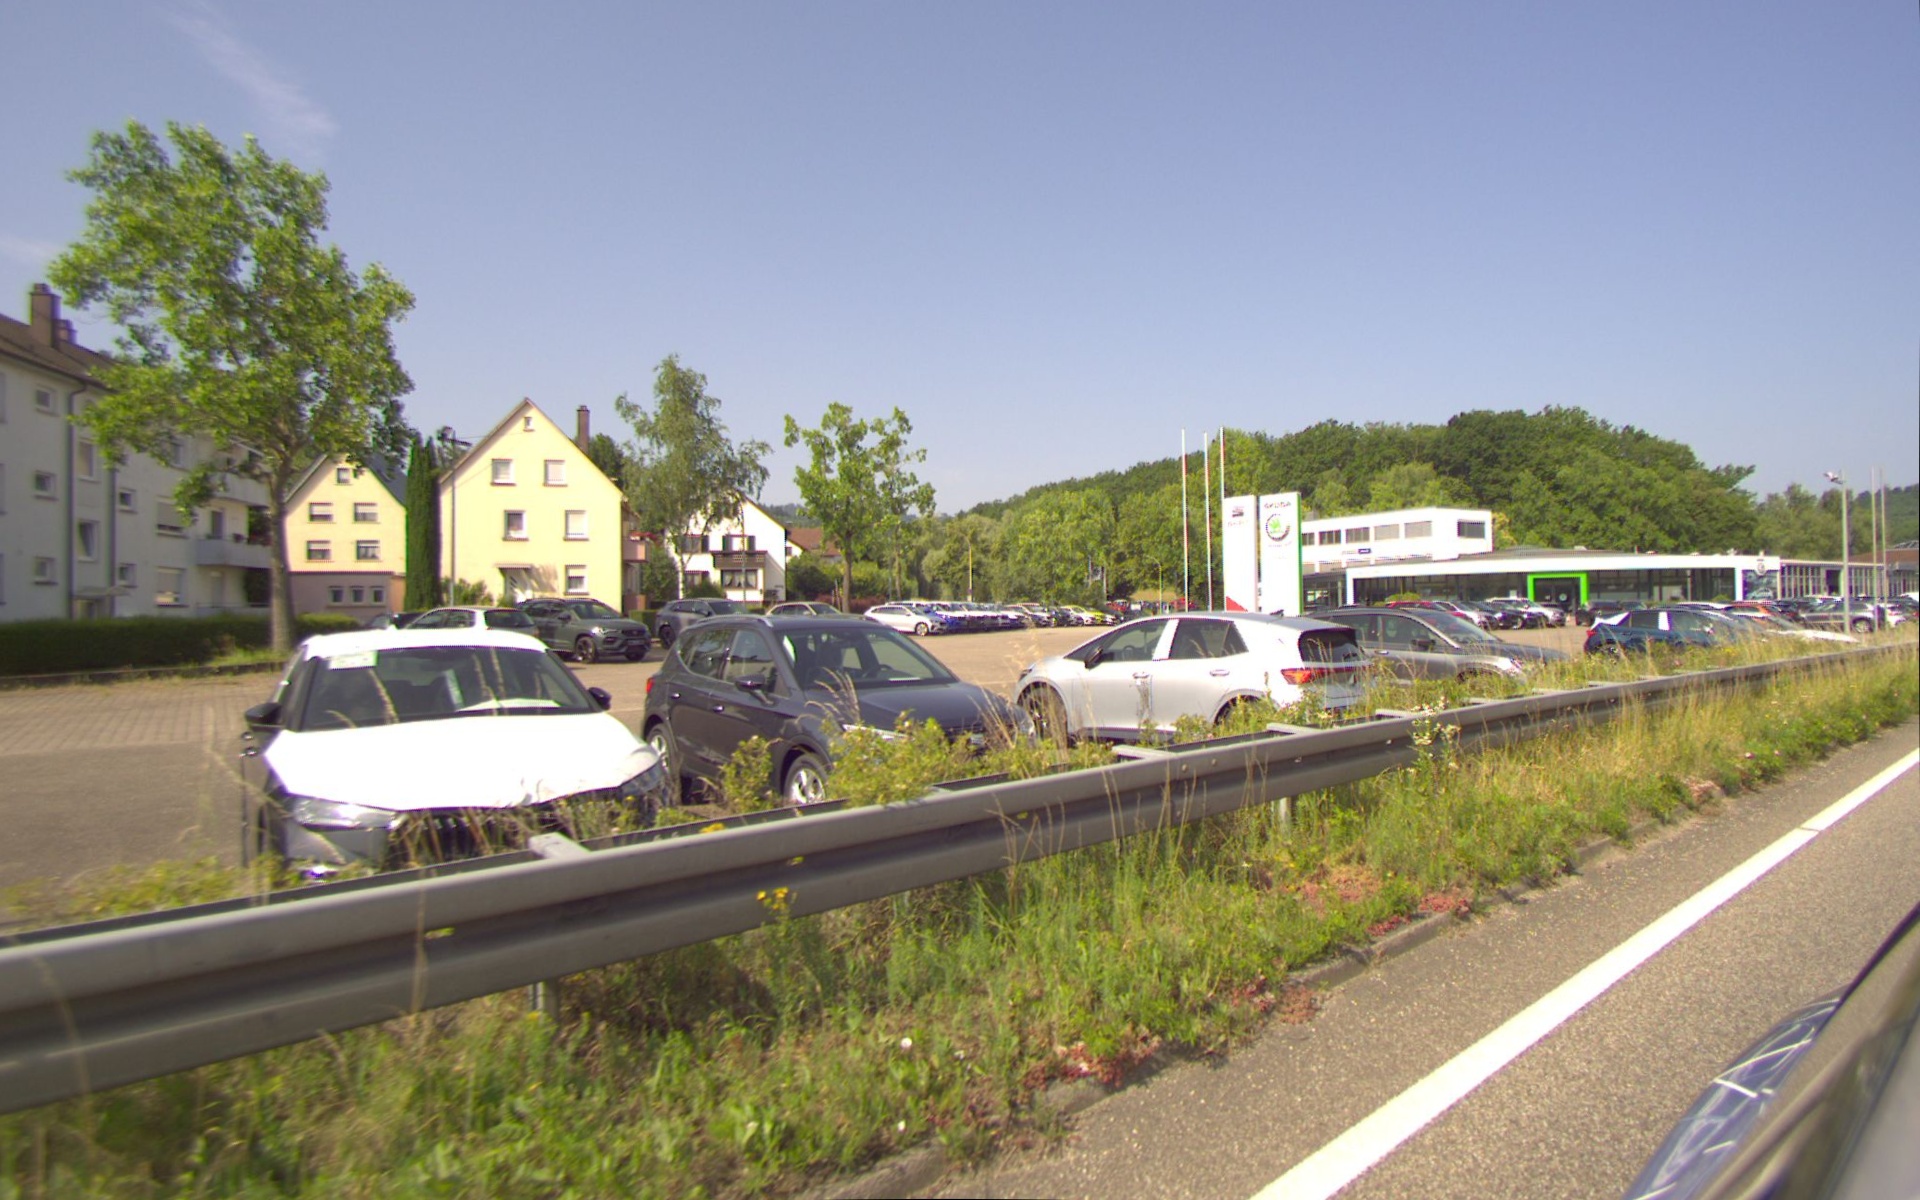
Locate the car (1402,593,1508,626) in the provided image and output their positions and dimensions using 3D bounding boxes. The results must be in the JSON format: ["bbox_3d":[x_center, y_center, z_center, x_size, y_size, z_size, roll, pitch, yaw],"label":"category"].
[{"bbox_3d":[26.153,0.457,53.616,1.894,1.584,4.754,-1,1,-33],"label":"car"}]

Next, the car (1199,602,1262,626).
[{"bbox_3d":[19.010,0.936,71.009,4.377,1.565,1.840,-1,1,-34],"label":"car"}]

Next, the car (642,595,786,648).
[{"bbox_3d":[-7.749,0.631,31.714,4.606,1.541,1.841,0,0,35],"label":"car"}]

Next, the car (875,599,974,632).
[{"bbox_3d":[-1.823,0.759,51.933,4.695,1.608,1.918,0,1,22],"label":"car"}]

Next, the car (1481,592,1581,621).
[{"bbox_3d":[33.198,0.355,58.959,1.894,1.584,4.754,-1,1,-33],"label":"car"}]

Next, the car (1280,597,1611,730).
[{"bbox_3d":[6.994,0.795,14.905,1.854,1.660,3.996,-1,0,-39],"label":"car"}]

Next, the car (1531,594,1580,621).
[{"bbox_3d":[36.806,0.427,62.612,1.909,1.584,4.717,0,1,22],"label":"car"}]

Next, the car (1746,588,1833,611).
[{"bbox_3d":[59.964,-0.054,73.243,1.753,1.584,4.731,0,1,-16],"label":"car"}]

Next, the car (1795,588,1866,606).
[{"bbox_3d":[75.663,-0.248,88.015,1.756,1.483,4.327,-1,1,-32],"label":"car"}]

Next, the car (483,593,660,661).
[{"bbox_3d":[-10.119,0.657,26.312,4.454,1.620,1.824,0,0,28],"label":"car"}]

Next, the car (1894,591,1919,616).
[{"bbox_3d":[58.126,0.224,59.735,1.687,1.504,4.055,0,1,-26],"label":"car"}]

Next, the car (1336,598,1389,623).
[{"bbox_3d":[27.480,0.696,69.006,1.995,1.565,4.541,1,1,41],"label":"car"}]

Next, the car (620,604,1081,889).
[{"bbox_3d":[-1.067,0.842,7.857,1.775,1.588,3.855,-1,0,-39],"label":"car"}]

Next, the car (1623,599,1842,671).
[{"bbox_3d":[19.734,0.815,26.011,1.739,1.575,4.171,-1,2,-37],"label":"car"}]

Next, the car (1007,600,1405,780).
[{"bbox_3d":[2.550,0.815,11.191,1.749,1.600,3.990,-1,0,-43],"label":"car"}]

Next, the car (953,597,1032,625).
[{"bbox_3d":[2.061,0.671,64.169,4.708,1.654,1.913,1,1,29],"label":"car"}]

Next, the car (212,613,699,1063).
[{"bbox_3d":[-3.108,0.881,5.734,1.667,1.541,3.996,-1,0,-39],"label":"car"}]

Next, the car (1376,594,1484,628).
[{"bbox_3d":[23.997,0.534,51.876,1.894,1.584,4.754,-1,1,-33],"label":"car"}]

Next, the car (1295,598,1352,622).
[{"bbox_3d":[25.537,0.695,71.048,4.536,1.565,1.998,-1,1,-45],"label":"car"}]

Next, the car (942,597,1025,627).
[{"bbox_3d":[1.417,0.701,61.535,4.706,1.654,1.914,0,1,28],"label":"car"}]

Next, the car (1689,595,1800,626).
[{"bbox_3d":[38.710,0.475,50.004,1.790,1.464,3.999,-1,0,-35],"label":"car"}]

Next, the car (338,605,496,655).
[{"bbox_3d":[-14.585,0.775,27.393,1.575,1.201,3.636,0,0,22],"label":"car"}]

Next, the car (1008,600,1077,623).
[{"bbox_3d":[5.921,0.807,73.071,4.714,1.565,1.757,1,1,32],"label":"car"}]

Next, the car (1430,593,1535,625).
[{"bbox_3d":[28.451,0.464,55.248,1.894,1.584,4.754,-1,1,-33],"label":"car"}]

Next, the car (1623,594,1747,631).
[{"bbox_3d":[32.291,0.527,45.169,1.792,1.535,4.166,-1,1,-39],"label":"car"}]

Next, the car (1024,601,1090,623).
[{"bbox_3d":[7.274,0.876,76.039,4.725,1.565,1.815,1,1,38],"label":"car"}]

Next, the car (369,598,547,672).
[{"bbox_3d":[-11.218,0.726,22.620,3.726,1.541,1.643,0,0,25],"label":"car"}]

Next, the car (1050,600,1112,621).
[{"bbox_3d":[9.617,0.799,80.583,4.729,1.565,1.751,1,1,40],"label":"car"}]

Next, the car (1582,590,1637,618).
[{"bbox_3d":[39.407,0.196,61.524,1.909,1.584,4.717,0,1,22],"label":"car"}]

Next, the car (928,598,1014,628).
[{"bbox_3d":[0.645,0.717,59.223,4.707,1.654,1.913,1,1,28],"label":"car"}]

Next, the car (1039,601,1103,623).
[{"bbox_3d":[8.560,0.875,78.315,4.726,1.565,1.752,1,1,38],"label":"car"}]

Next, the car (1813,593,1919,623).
[{"bbox_3d":[47.714,0.402,53.225,1.756,1.513,4.001,-1,0,-34],"label":"car"}]

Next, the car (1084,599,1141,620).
[{"bbox_3d":[12.776,0.772,84.949,1.747,1.565,4.741,-1,1,-43],"label":"car"}]

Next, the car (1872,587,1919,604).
[{"bbox_3d":[88.765,-0.445,95.046,1.755,1.483,4.327,-1,1,-32],"label":"car"}]

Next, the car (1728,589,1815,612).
[{"bbox_3d":[57.473,0.015,71.749,1.753,1.507,4.731,0,1,-13],"label":"car"}]

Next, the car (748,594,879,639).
[{"bbox_3d":[-5.432,0.567,37.231,4.730,1.541,1.972,0,0,35],"label":"car"}]

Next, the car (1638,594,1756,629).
[{"bbox_3d":[34.242,0.499,47.098,1.790,1.535,4.105,-1,0,-35],"label":"car"}]

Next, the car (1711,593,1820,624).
[{"bbox_3d":[41.008,0.424,51.611,1.807,1.505,3.999,-1,0,-35],"label":"car"}]

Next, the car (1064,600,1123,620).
[{"bbox_3d":[10.918,0.788,82.924,4.735,1.565,1.749,1,1,43],"label":"car"}]

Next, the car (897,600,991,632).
[{"bbox_3d":[-0.848,0.816,54.128,4.701,1.608,1.916,0,1,25],"label":"car"}]

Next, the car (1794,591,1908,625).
[{"bbox_3d":[45.580,0.384,51.838,1.759,1.630,4.088,-1,0,-37],"label":"car"}]

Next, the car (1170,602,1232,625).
[{"bbox_3d":[17.477,0.948,73.331,4.375,1.565,1.841,-1,1,-32],"label":"car"}]

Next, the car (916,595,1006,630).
[{"bbox_3d":[0.037,0.667,56.652,4.711,1.802,1.912,1,1,30],"label":"car"}]

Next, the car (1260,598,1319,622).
[{"bbox_3d":[23.841,0.694,73.121,4.528,1.565,2.001,-1,1,-40],"label":"car"}]

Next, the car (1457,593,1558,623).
[{"bbox_3d":[30.862,0.424,57.184,1.894,1.584,4.754,-1,1,-33],"label":"car"}]

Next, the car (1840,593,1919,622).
[{"bbox_3d":[50.007,0.376,54.211,1.696,1.513,4.003,-1,0,-32],"label":"car"}]

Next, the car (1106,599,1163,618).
[{"bbox_3d":[14.891,0.703,86.438,1.747,1.565,4.741,-1,1,-43],"label":"car"}]

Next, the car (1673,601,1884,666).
[{"bbox_3d":[22.098,0.837,27.476,1.700,1.509,4.171,-1,2,-37],"label":"car"}]

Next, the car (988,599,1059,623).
[{"bbox_3d":[4.435,0.778,70.847,4.711,1.565,1.758,1,1,30],"label":"car"}]

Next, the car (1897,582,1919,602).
[{"bbox_3d":[93.587,-0.752,97.653,1.755,1.948,4.328,-1,1,-30],"label":"car"}]

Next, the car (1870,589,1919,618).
[{"bbox_3d":[55.729,0.184,58.453,1.819,1.620,4.462,-1,1,-34],"label":"car"}]

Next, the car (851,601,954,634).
[{"bbox_3d":[-2.798,0.839,49.316,4.695,1.477,1.918,0,1,22],"label":"car"}]

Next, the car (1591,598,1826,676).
[{"bbox_3d":[17.557,0.783,23.913,1.709,1.564,4.171,-1,2,-37],"label":"car"}]

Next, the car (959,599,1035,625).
[{"bbox_3d":[2.417,0.750,66.432,4.705,1.565,1.760,0,1,27],"label":"car"}]

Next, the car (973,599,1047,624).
[{"bbox_3d":[3.377,0.773,68.513,4.709,1.565,1.759,1,1,29],"label":"car"}]

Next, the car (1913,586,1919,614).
[{"bbox_3d":[60.119,0.030,60.695,1.802,1.684,3.897,0,1,-26],"label":"car"}]
